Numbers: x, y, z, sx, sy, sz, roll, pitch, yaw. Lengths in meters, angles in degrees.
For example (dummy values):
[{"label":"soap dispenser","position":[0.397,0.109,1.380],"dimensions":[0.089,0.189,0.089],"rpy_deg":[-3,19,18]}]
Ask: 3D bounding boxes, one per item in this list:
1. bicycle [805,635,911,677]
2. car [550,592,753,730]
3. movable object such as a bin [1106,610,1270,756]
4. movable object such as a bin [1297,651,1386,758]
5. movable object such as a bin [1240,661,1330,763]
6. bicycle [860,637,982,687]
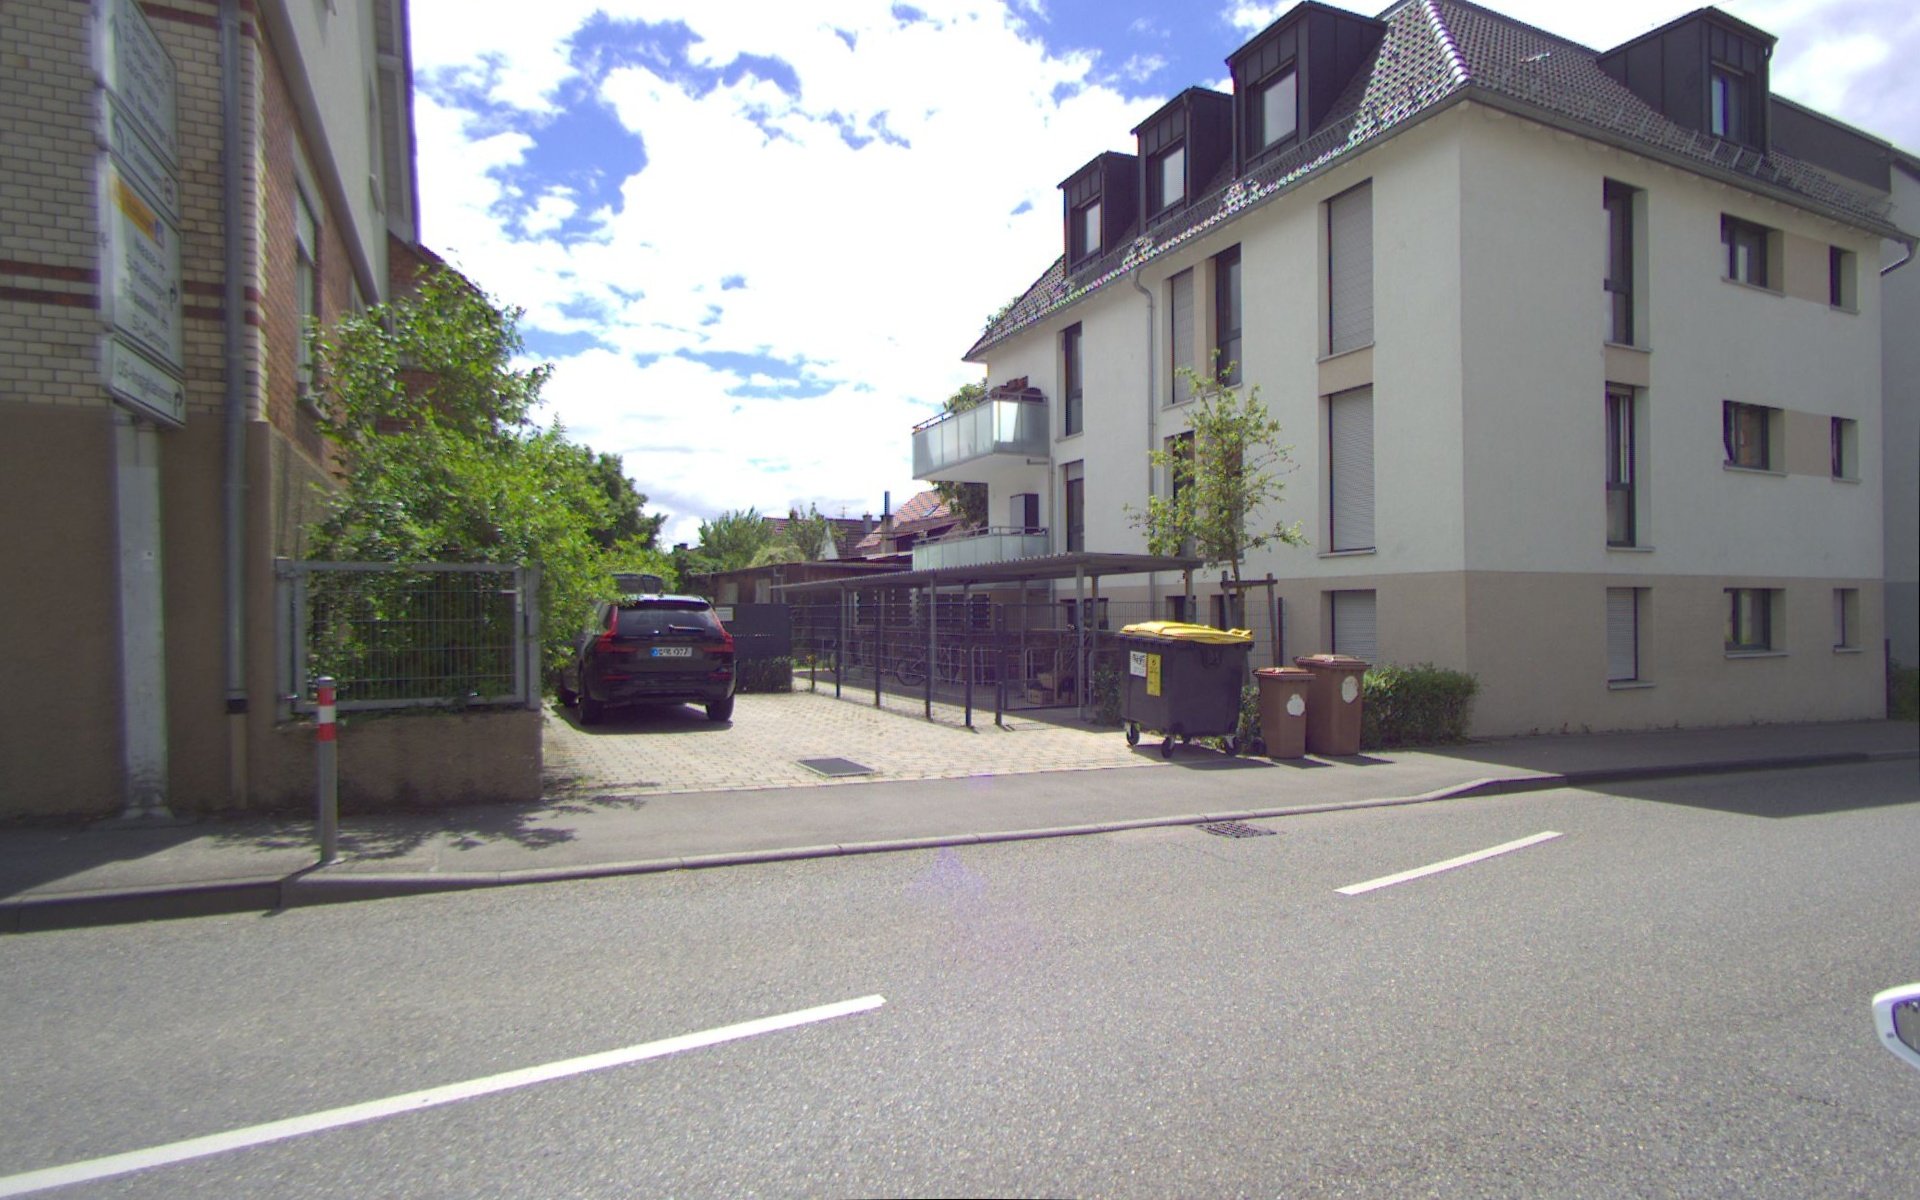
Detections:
[{"label":"bicycle","position":[-2.481,1.349,24.635],"dimensions":[2.590,0.899,0.539],"rpy_deg":[-1,1,-31]},{"label":"car","position":[-4.389,0.744,13.864],"dimensions":[1.976,1.595,3.971],"rpy_deg":[2,-1,-28]},{"label":"movable object such as a bin","position":[2.469,0.858,10.961],"dimensions":[1.157,1.465,1.328],"rpy_deg":[2,-1,-30]},{"label":"movable object such as a bin","position":[4.132,1.113,10.897],"dimensions":[0.652,1.089,0.638],"rpy_deg":[2,-1,-30]},{"label":"movable object such as a bin","position":[3.439,1.163,10.634],"dimensions":[0.649,1.013,0.638],"rpy_deg":[1,-1,-27]},{"label":"bicycle","position":[-0.788,1.272,20.882],"dimensions":[2.590,0.899,0.539],"rpy_deg":[-1,1,-31]}]
